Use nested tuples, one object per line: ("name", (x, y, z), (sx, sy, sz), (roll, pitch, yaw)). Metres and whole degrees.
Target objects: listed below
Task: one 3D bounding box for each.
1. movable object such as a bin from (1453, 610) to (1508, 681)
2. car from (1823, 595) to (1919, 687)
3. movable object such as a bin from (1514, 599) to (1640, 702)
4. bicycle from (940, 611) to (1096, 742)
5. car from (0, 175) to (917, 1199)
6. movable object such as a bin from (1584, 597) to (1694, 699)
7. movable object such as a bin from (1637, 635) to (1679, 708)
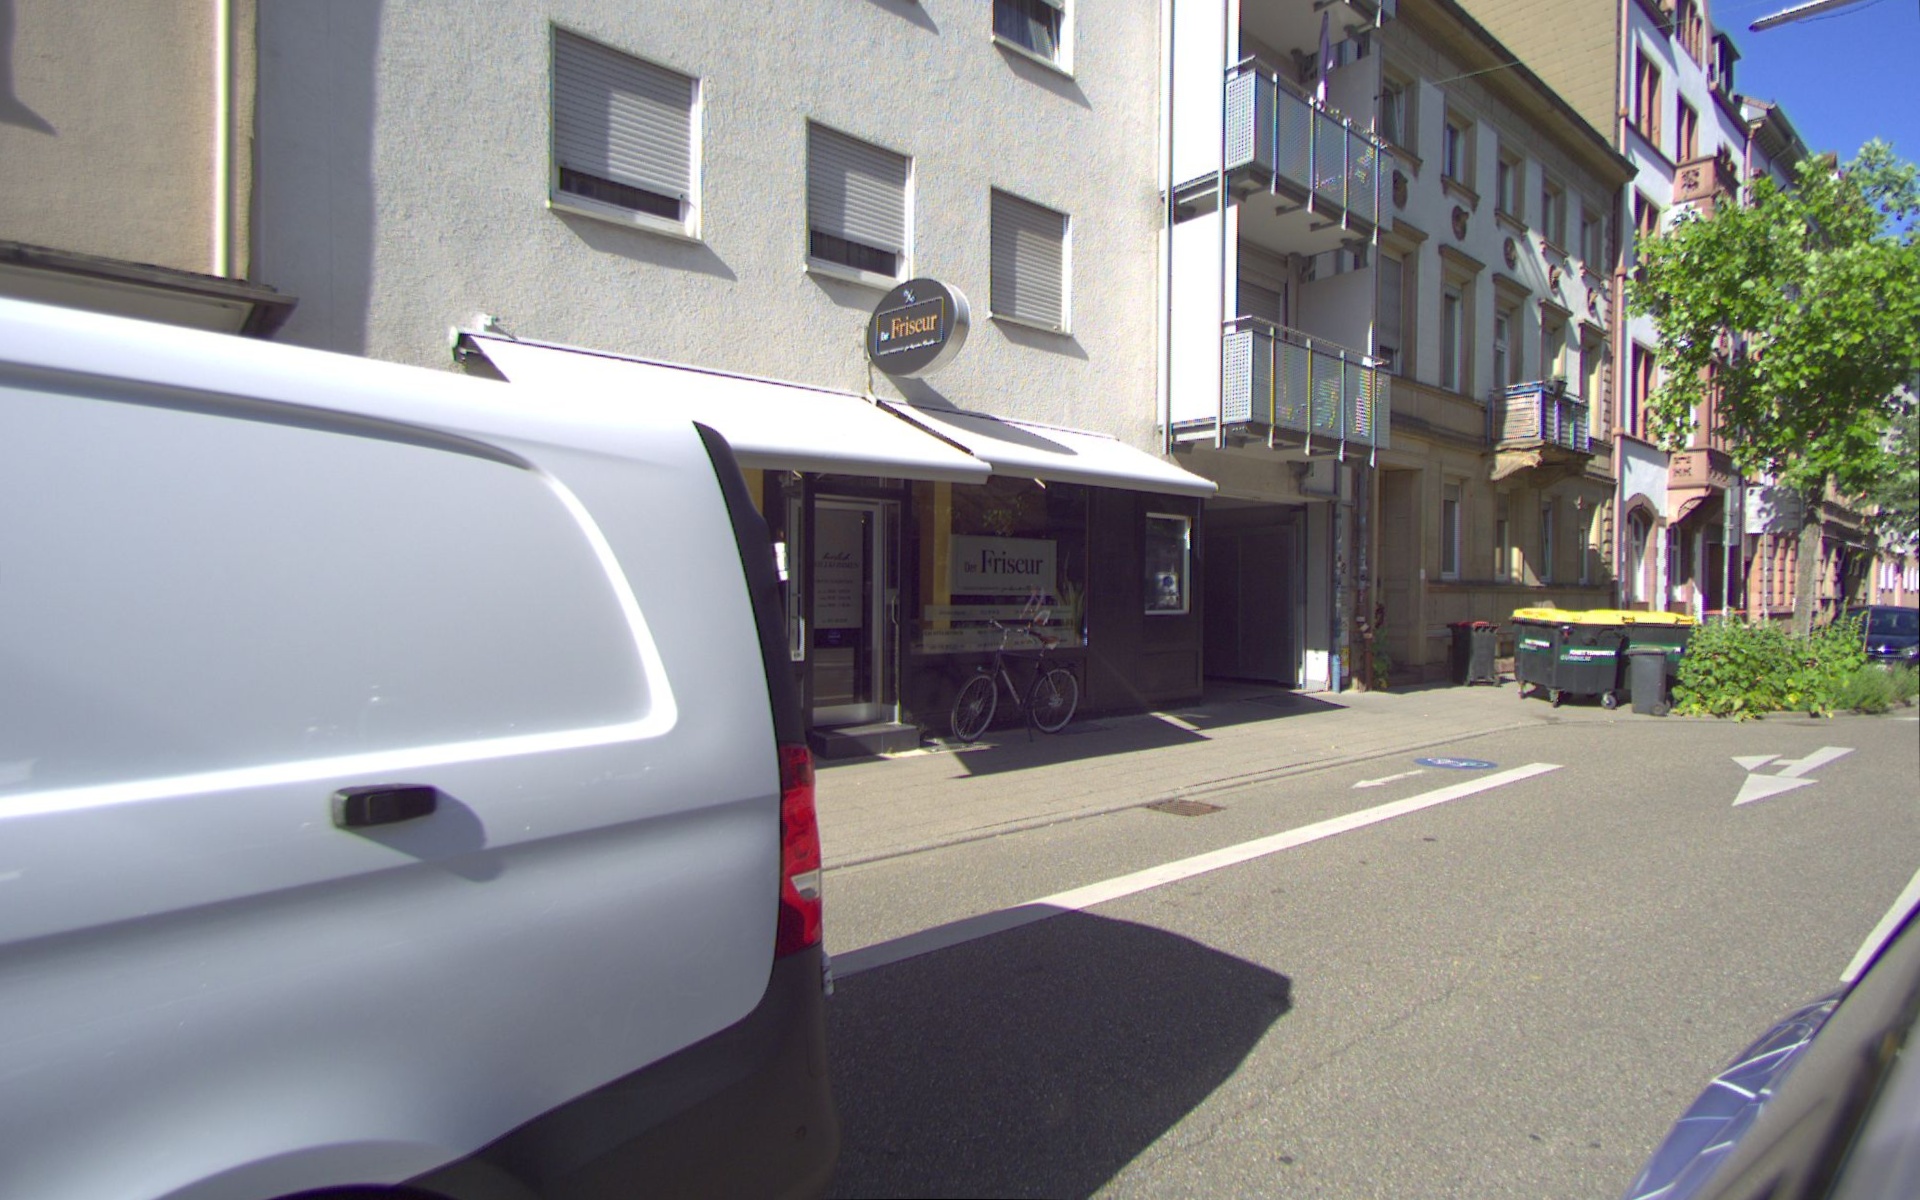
("movable object such as a bin", (8.539, 0.738, 16.623), (0.557, 1.094, 0.617), (1, 3, 1))
("car", (16.844, 0.670, 18.213), (3.293, 1.510, 1.550), (0, 1, -41))
("movable object such as a bin", (8.849, 0.697, 14.577), (1.030, 1.341, 1.216), (1, 3, 1))
("bicycle", (0.610, 0.717, 10.103), (1.760, 1.193, 0.402), (0, 0, -41))
("car", (-2.498, 0.501, 0.898), (4.911, 1.892, 1.838), (0, 1, -43))
("movable object such as a bin", (9.965, 0.682, 14.900), (0.943, 1.365, 1.066), (1, 3, 11))
("movable object such as a bin", (9.578, 0.968, 13.886), (0.399, 0.933, 0.478), (3, 3, 41))
